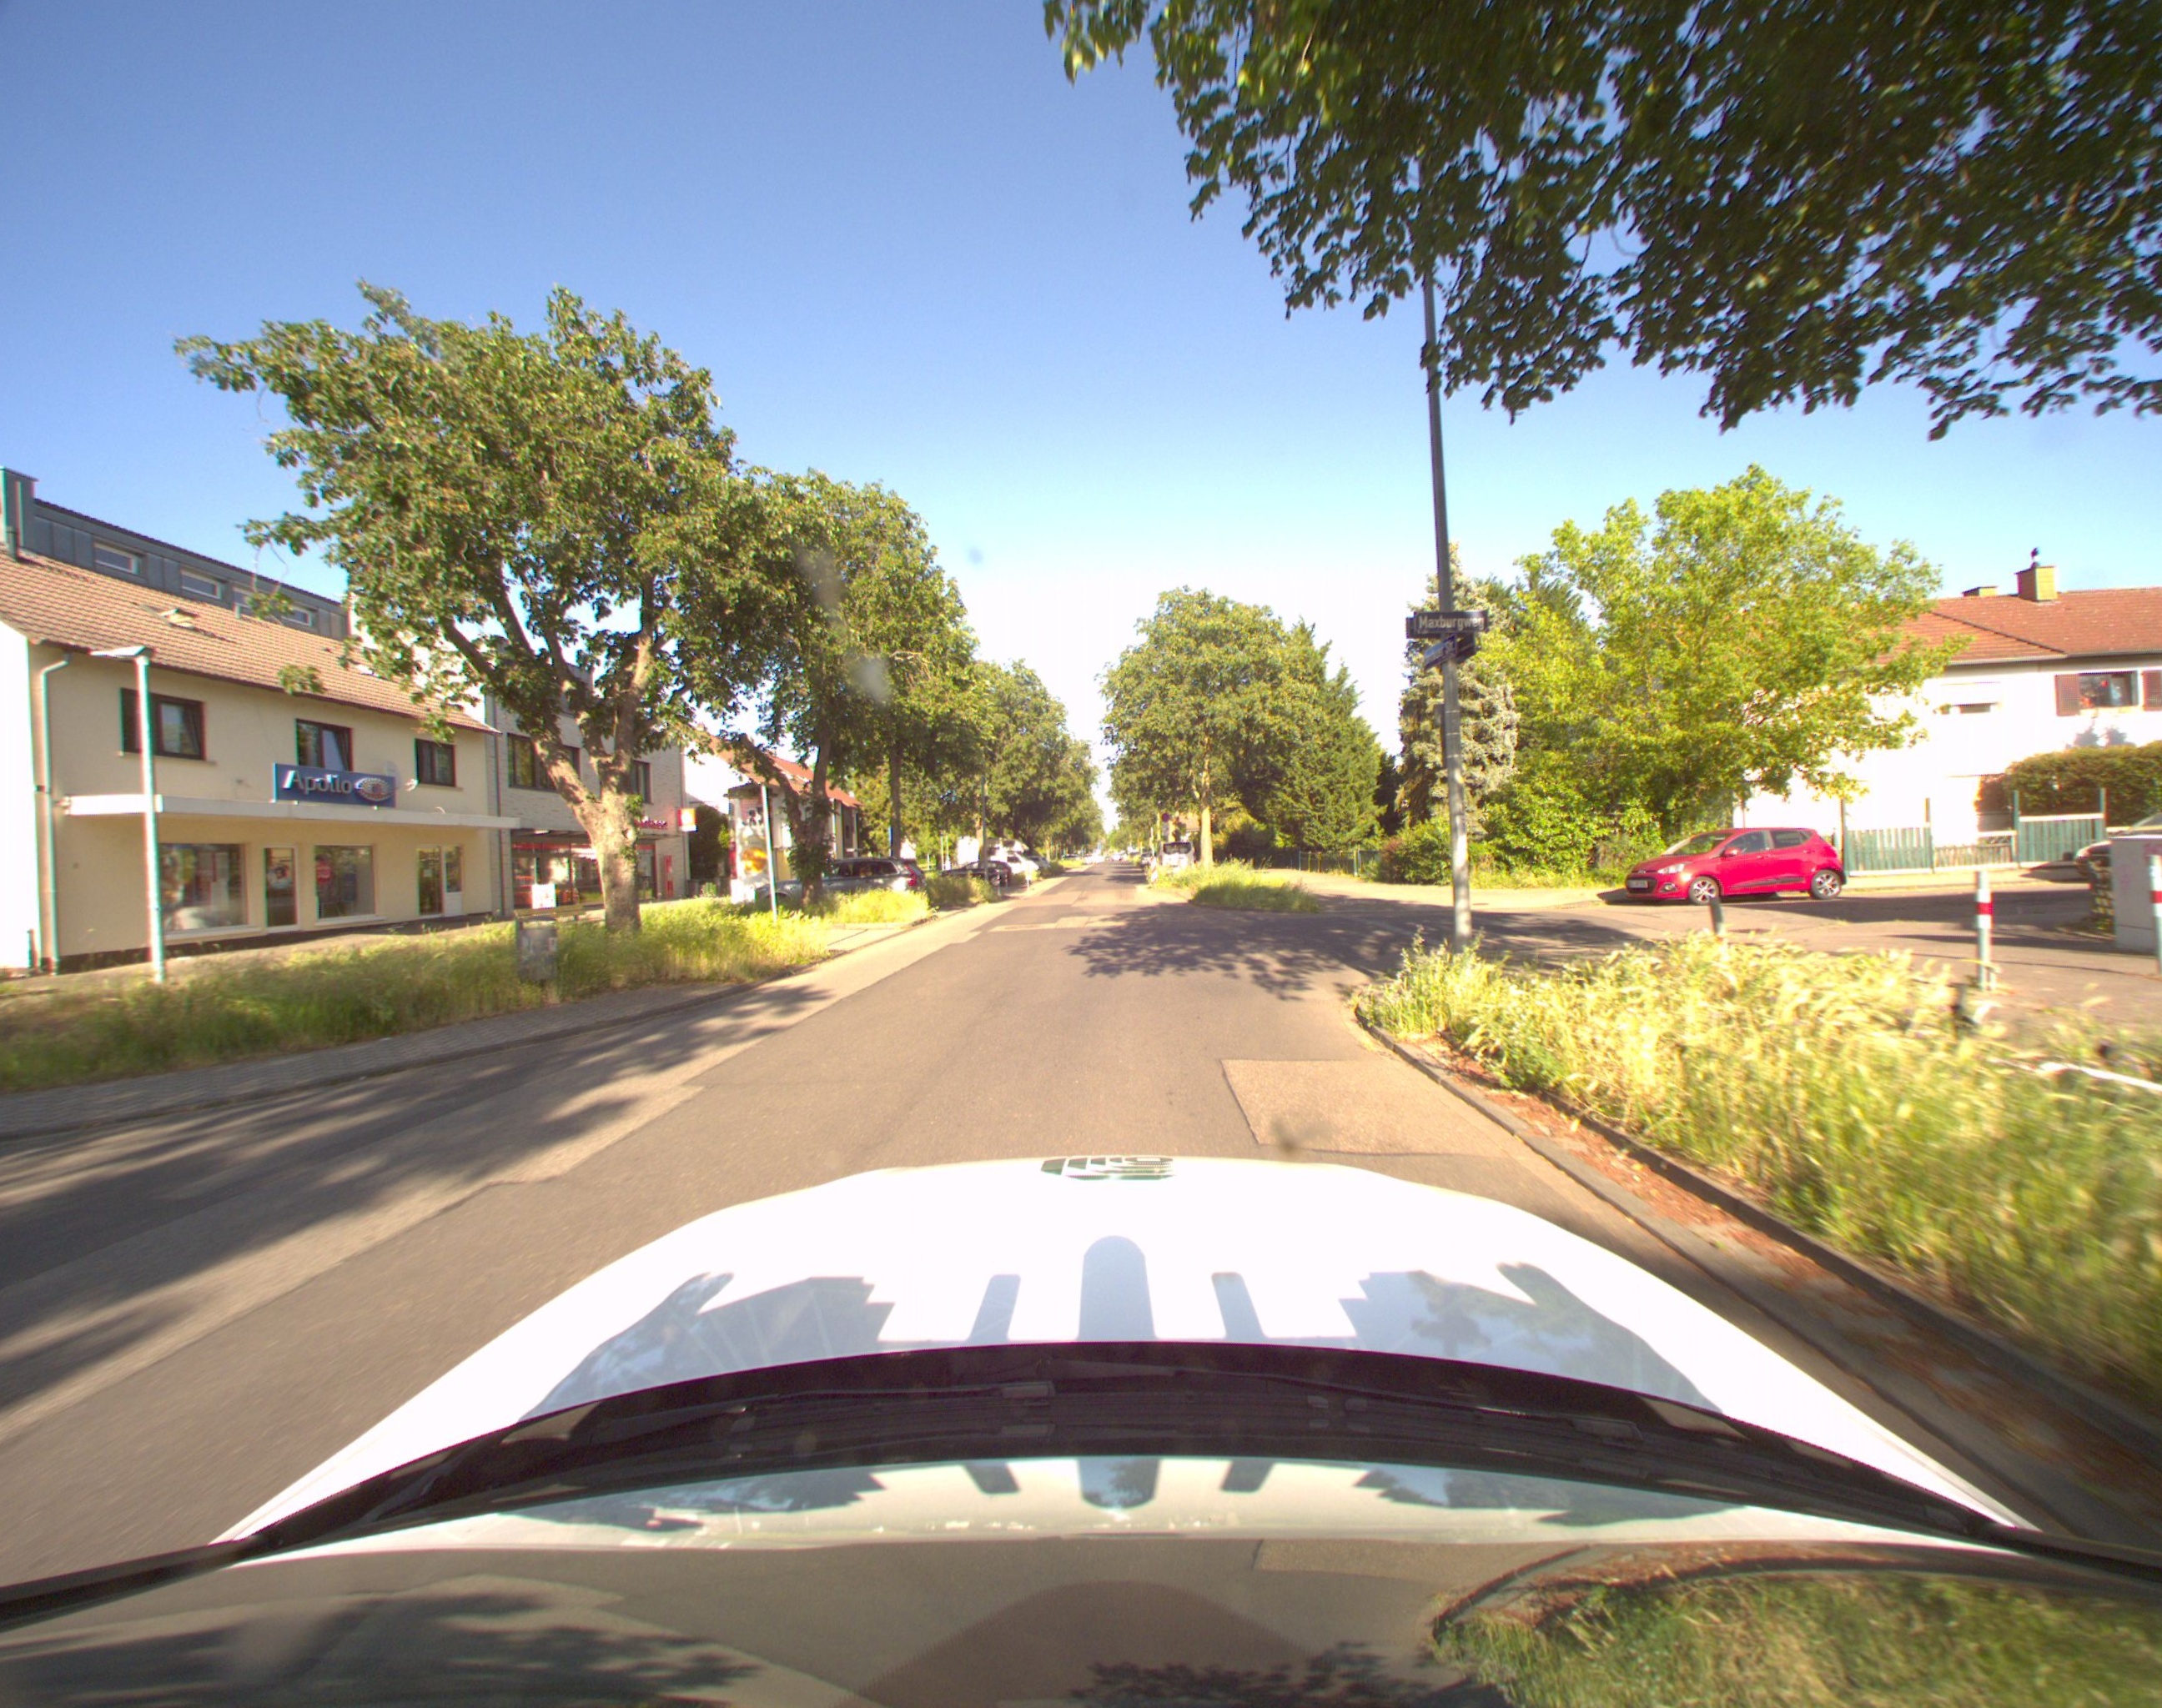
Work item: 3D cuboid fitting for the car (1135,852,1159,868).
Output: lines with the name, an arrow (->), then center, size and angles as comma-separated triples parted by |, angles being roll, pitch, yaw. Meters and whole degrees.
car -> 6.525, 0.600, 80.126 | 1.982, 1.510, 4.010 | -4, -1, 9

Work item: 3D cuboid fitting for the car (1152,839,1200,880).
car -> 4.899, 0.298, 42.600 | 1.986, 2.014, 5.197 | 1, -1, 1

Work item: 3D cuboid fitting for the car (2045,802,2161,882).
car -> 22.269, -0.313, 16.259 | 3.943, 1.510, 1.842 | -3, 0, -2

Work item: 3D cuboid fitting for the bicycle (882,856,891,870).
bicycle -> -17.643, 0.815, 73.727 | 0.705, 1.176, 4.037 | -3, 0, -14

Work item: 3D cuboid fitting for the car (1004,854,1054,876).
car -> -4.375, 0.925, 68.456 | 3.973, 1.661, 1.967 | -2, 0, 1

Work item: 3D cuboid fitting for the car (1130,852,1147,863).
car -> 8.427, 0.557, 119.391 | 1.989, 1.622, 4.376 | 1, -1, -4

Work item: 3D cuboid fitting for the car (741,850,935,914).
car -> -6.999, 0.803, 23.903 | 5.047, 1.728, 1.999 | 1, -1, -2

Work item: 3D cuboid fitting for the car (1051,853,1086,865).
car -> -1.771, 0.720, 114.695 | 4.651, 1.503, 2.002 | -2, 0, 3

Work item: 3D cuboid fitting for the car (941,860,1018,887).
car -> -5.573, 1.056, 44.915 | 3.967, 1.450, 1.642 | 0, -1, 5

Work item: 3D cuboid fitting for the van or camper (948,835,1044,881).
van or camper -> -5.353, 0.273, 51.741 | 5.750, 2.805, 2.002 | 1, -1, 4

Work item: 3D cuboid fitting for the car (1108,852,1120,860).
car -> 6.290, 0.369, 154.514 | 1.989, 1.508, 3.654 | 1, -1, -3

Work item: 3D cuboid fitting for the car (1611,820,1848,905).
car -> 13.009, 0.147, 16.482 | 3.531, 1.510, 1.639 | -2, 1, -2

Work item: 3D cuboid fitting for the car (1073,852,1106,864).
car -> 1.235, 0.553, 116.539 | 4.177, 1.455, 2.009 | -2, 0, 18

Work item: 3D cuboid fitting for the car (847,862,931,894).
car -> -9.973, 1.218, 42.576 | 3.978, 1.542, 1.868 | -1, -1, -3
